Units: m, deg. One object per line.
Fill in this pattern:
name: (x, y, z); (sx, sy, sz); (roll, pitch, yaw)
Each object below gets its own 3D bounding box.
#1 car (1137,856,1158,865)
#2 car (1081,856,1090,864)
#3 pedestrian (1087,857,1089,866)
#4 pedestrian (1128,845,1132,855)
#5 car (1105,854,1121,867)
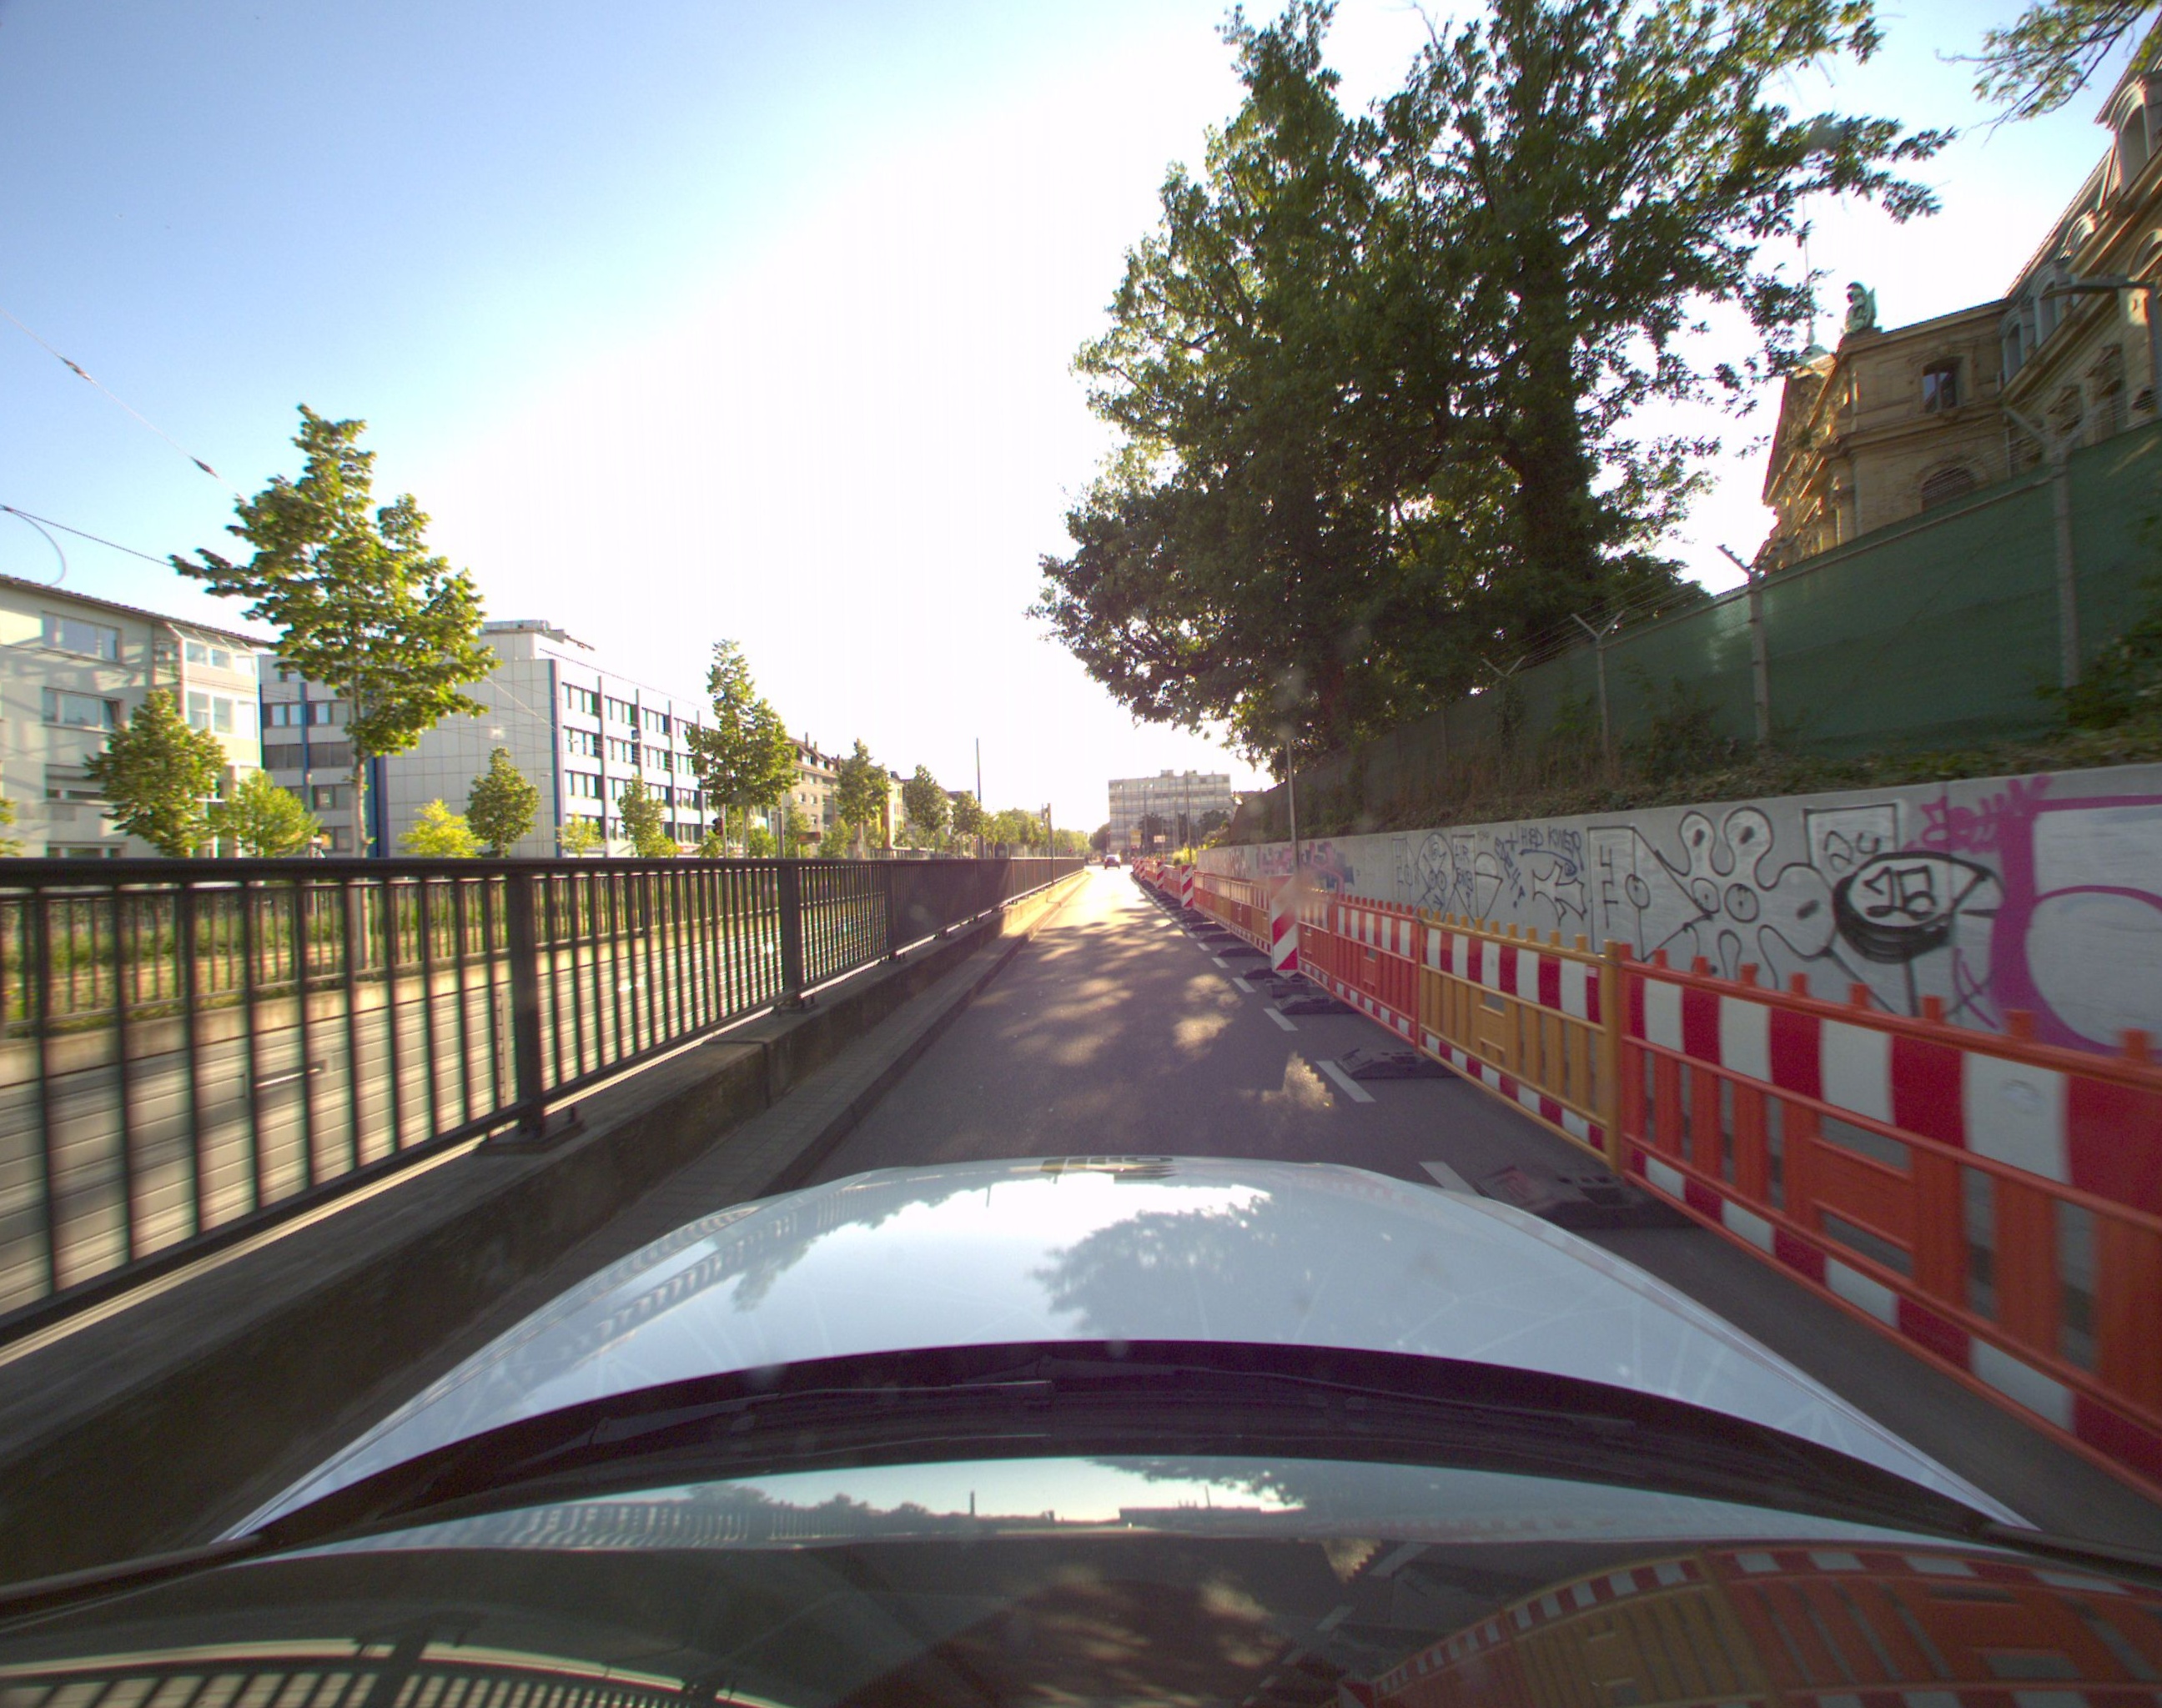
car: (12.791, 1.337, 156.863); (3.963, 1.640, 2.005); (-1, -1, 9)
car: (0.940, 1.287, 186.066); (1.987, 1.617, 4.001); (-2, 2, 1)
pedestrian: (1.253, 1.360, 151.201); (0.277, 1.575, 0.436); (0, -1, -24)
pedestrian: (10.539, -0.792, 174.845); (0.887, 2.112, 0.719); (-2, 0, 7)
car: (4.040, 0.835, 102.640); (1.997, 1.659, 4.003); (-1, -1, 3)
